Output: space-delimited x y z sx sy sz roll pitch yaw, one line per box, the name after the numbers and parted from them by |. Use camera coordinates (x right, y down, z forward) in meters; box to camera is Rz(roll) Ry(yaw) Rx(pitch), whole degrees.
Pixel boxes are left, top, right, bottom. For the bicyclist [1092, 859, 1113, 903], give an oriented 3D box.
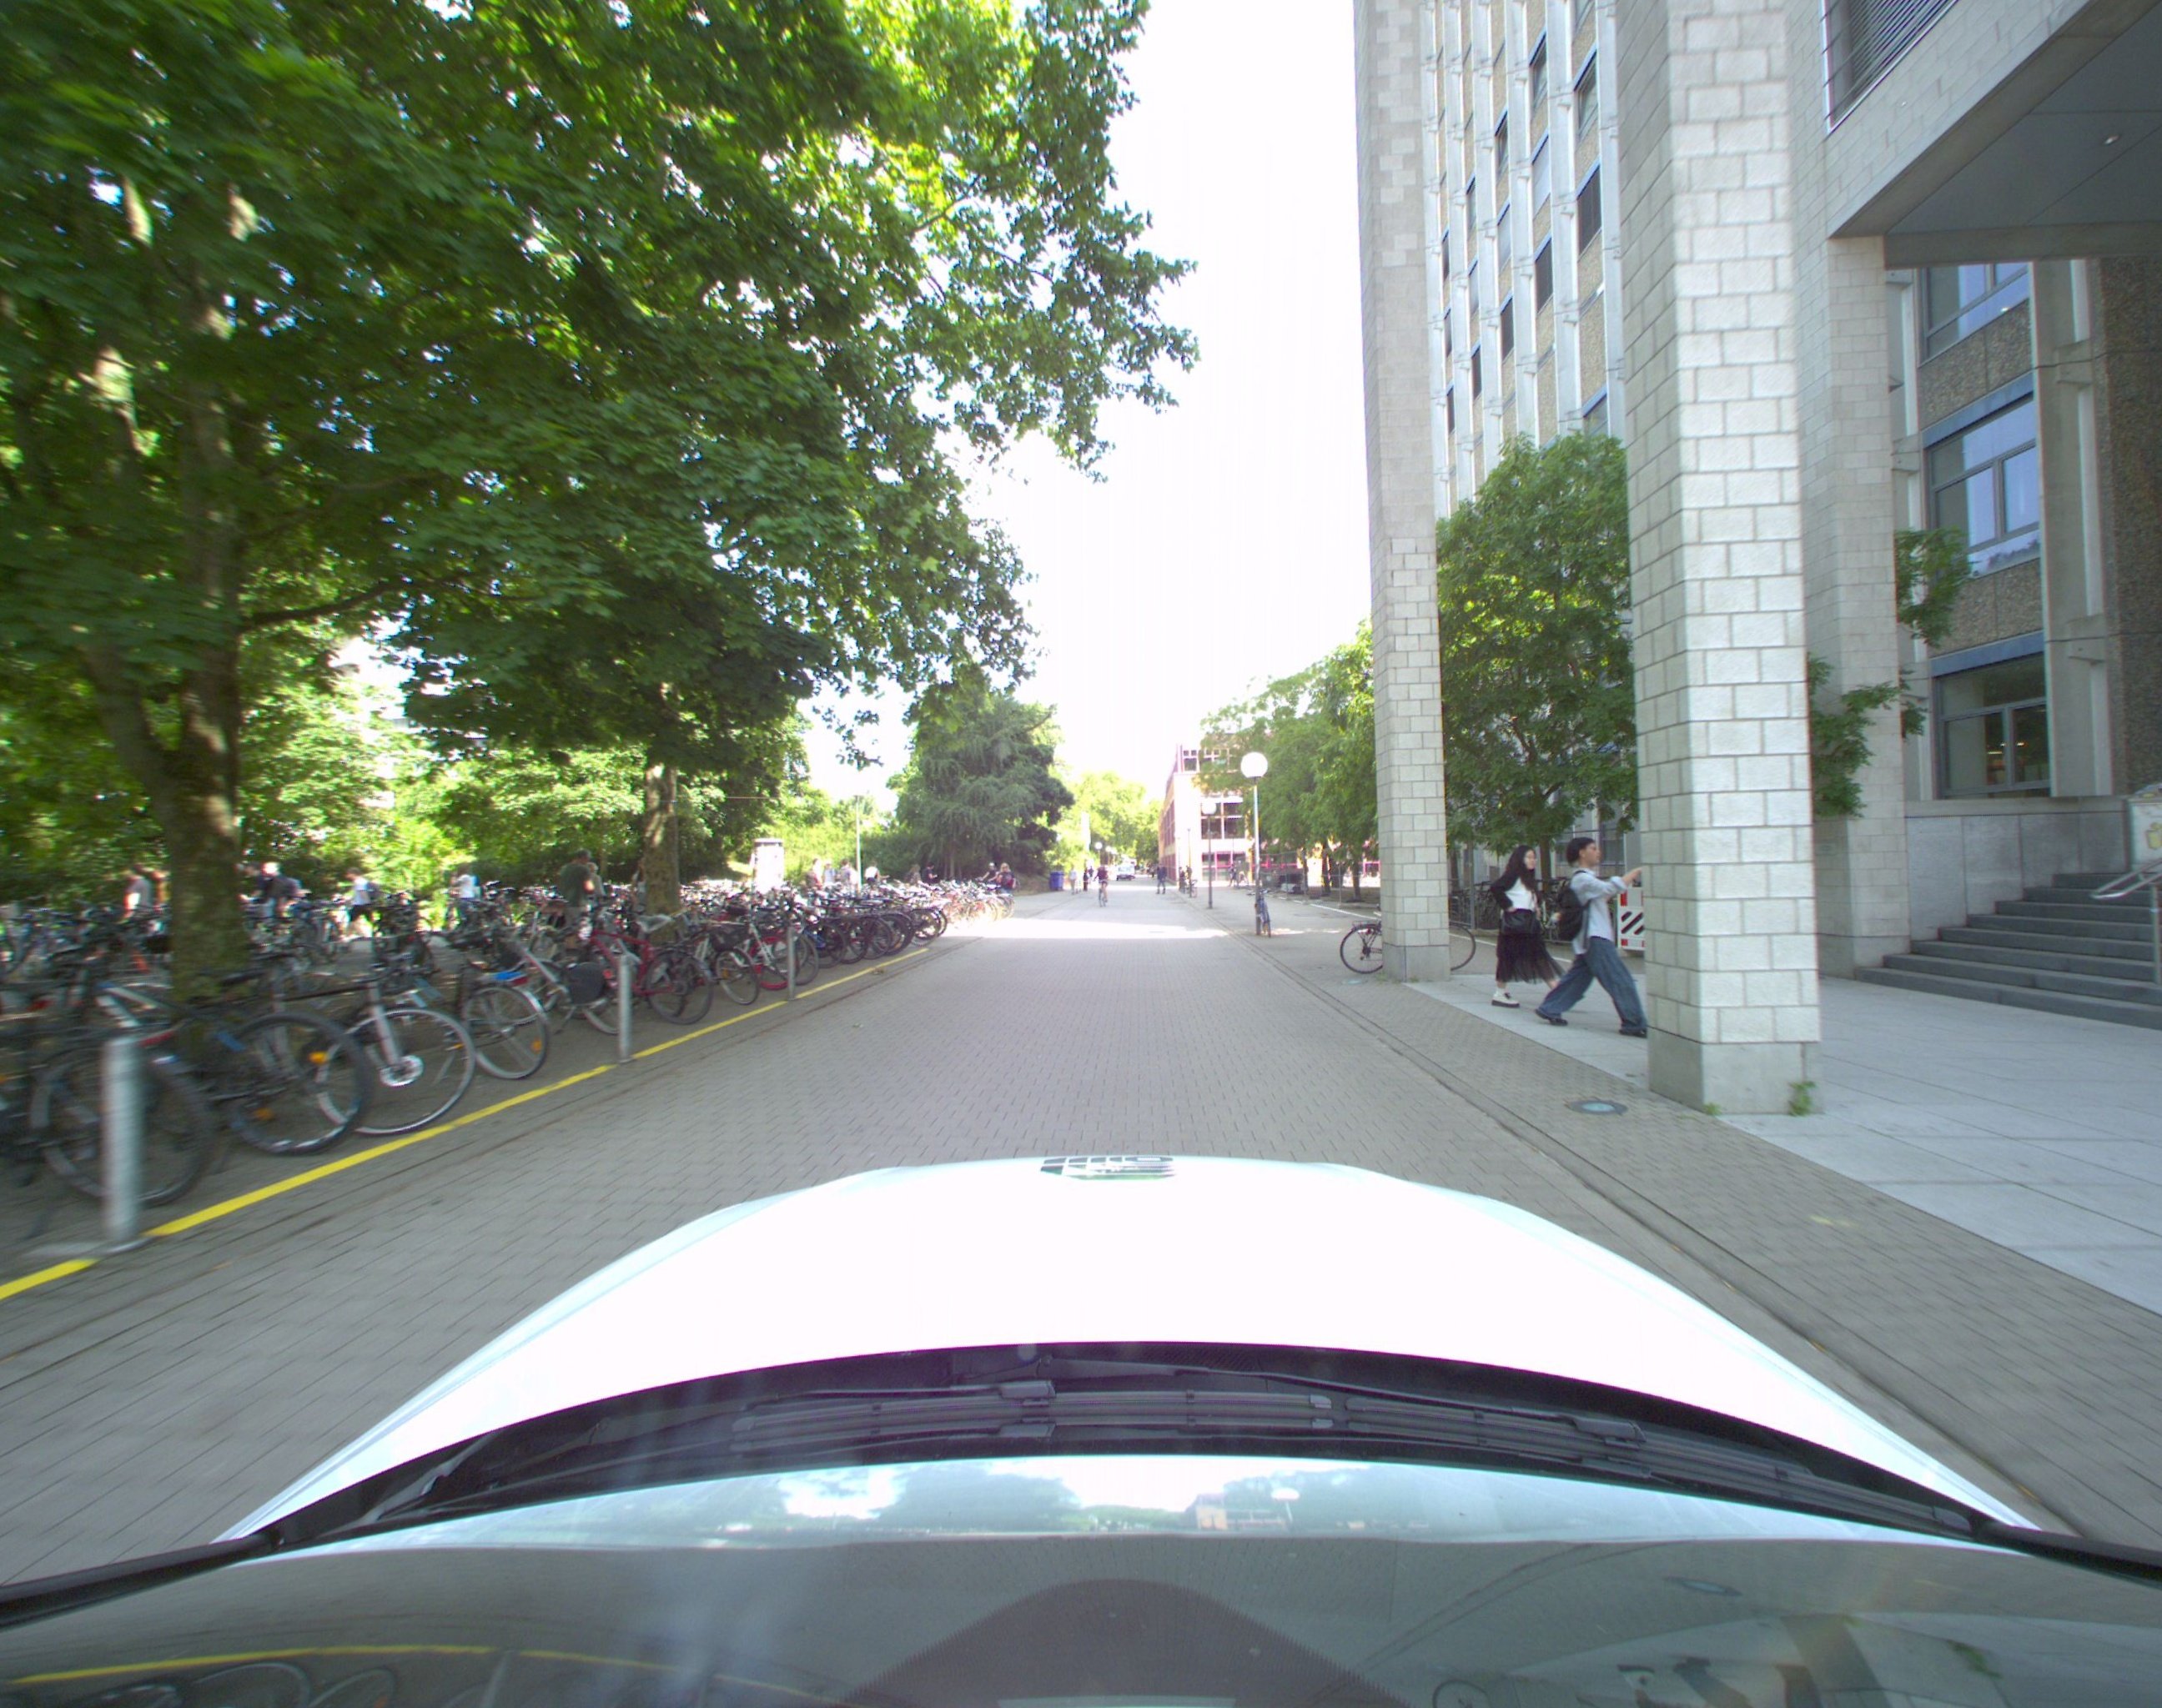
0.877 1.103 33.349 0.769 1.716 0.911 -2 -2 1 | bicyclist

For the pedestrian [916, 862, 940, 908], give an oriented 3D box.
-5.870 1.174 31.261 0.681 1.724 0.904 0 -1 2 | pedestrian

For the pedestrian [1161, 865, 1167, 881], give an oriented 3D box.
8.855 2.062 86.607 0.583 1.673 0.700 -2 -2 5 | pedestrian

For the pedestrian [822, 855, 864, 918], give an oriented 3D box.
-7.164 0.977 24.495 0.677 1.835 0.947 -2 -1 38 | pedestrian

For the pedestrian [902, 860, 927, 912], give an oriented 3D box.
-5.630 1.085 27.605 0.681 1.724 0.731 0 -1 2 | pedestrian

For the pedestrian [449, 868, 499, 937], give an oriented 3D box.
-15.184 1.192 20.400 0.910 1.680 0.762 0 -1 -30 | pedestrian

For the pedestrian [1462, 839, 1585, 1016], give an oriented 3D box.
4.339 0.676 7.991 0.811 1.617 0.732 -1 -1 -37 | pedestrian

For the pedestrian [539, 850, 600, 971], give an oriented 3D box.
-7.938 0.845 12.668 0.772 1.807 0.703 0 -1 -29 | pedestrian

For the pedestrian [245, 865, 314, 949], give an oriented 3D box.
-17.544 1.137 17.847 0.910 1.774 0.762 0 -1 -30 | pedestrian

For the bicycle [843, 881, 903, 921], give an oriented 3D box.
-5.879 1.313 23.006 1.679 1.083 0.477 -1 -1 23 | bicycle

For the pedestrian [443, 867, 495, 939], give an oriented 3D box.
-14.776 1.151 19.675 0.910 1.680 0.762 0 -1 -30 | pedestrian

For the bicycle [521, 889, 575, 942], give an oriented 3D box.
-11.711 1.327 17.870 1.677 1.083 0.477 -1 -2 39 | bicycle

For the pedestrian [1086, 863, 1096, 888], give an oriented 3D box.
0.768 1.628 62.129 0.679 1.844 0.784 -1 -2 4 | pedestrian

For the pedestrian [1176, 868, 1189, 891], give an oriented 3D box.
7.307 1.815 58.403 0.846 1.651 0.590 -1 -2 11 | pedestrian

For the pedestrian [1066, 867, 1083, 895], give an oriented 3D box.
-0.445 1.761 54.022 0.786 1.845 1.110 0 -1 -20 | pedestrian

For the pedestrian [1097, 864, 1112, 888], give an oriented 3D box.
1.855 1.726 63.592 0.717 1.881 1.089 -2 -2 35 | pedestrian

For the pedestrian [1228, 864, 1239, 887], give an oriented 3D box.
11.332 1.575 60.440 0.692 1.673 0.590 -3 -2 11 | pedestrian

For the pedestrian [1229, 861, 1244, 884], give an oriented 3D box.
11.688 1.403 61.170 0.894 1.728 0.688 -2 -4 19 | pedestrian

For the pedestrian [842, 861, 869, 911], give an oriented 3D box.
-8.013 1.130 28.912 0.689 1.724 0.724 -1 -1 -33 | pedestrian

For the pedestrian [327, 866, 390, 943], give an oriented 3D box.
-16.333 1.111 18.430 0.910 1.680 0.762 0 -1 -30 | pedestrian

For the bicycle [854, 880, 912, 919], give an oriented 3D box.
-5.722 1.303 23.512 1.679 1.083 0.477 -1 -1 23 | bicycle

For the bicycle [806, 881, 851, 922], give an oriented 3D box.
-7.048 1.310 22.658 0.477 1.083 1.678 1 -2 -45 | bicycle

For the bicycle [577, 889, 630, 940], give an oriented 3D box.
-10.876 1.355 18.541 1.677 1.083 0.477 -1 -2 39 | bicycle

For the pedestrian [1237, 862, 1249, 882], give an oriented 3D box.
12.749 1.412 64.128 0.777 1.621 0.685 0 -2 1 | pedestrian

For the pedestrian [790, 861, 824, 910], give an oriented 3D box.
-10.100 1.150 30.031 0.762 1.804 0.987 -1 -1 12 | pedestrian

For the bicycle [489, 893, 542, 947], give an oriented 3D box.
-12.159 1.389 17.500 1.677 1.083 0.477 -1 -2 39 | bicycle

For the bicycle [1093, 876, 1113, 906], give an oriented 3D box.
0.884 1.502 33.197 0.768 1.150 2.108 -2 -2 1 | bicycle

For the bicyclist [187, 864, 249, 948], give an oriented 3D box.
-16.737 0.992 15.811 0.725 1.568 0.589 0 -2 -37 | bicyclist

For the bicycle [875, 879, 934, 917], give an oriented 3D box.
-5.314 1.326 24.519 1.681 1.110 0.476 -1 -1 16 | bicycle

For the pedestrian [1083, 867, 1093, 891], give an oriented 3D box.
0.461 1.682 55.602 0.568 1.611 0.915 0 -2 -8 | pedestrian

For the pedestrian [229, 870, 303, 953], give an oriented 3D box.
-17.087 1.179 17.100 0.910 1.680 0.762 0 -1 -30 | pedestrian

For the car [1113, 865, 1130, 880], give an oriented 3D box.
4.805 2.153 96.091 1.782 1.762 4.486 -1 -1 4 | car

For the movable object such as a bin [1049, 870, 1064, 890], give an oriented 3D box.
-1.716 1.813 57.150 0.704 1.336 1.244 1 -1 14 | movable object such as a bin

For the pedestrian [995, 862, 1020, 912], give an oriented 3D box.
-2.605 1.151 28.811 0.768 1.680 0.903 -1 0 -12 | pedestrian

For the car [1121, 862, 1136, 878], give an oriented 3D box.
6.416 2.118 109.641 1.875 1.974 5.220 -1 -1 4 | car

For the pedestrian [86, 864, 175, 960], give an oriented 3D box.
-18.469 1.098 15.853 0.910 1.774 0.762 0 -1 -30 | pedestrian

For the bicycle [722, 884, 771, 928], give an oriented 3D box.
-8.655 1.326 21.038 1.678 1.083 0.477 -2 -2 42 | bicycle

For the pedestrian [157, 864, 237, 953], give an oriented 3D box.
-18.273 1.101 16.862 0.910 1.774 0.762 0 -1 -30 | pedestrian

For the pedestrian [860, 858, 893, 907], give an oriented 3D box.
-7.383 1.029 29.443 0.941 1.724 0.670 -1 -1 -35 | pedestrian

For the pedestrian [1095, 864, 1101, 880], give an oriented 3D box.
2.034 2.141 97.436 0.679 1.844 0.784 -1 -2 4 | pedestrian

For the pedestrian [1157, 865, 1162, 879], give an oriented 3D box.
9.750 2.208 101.534 0.583 1.673 0.818 -2 -2 5 | pedestrian

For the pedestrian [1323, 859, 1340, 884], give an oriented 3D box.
17.534 1.233 56.956 0.899 1.728 0.684 -1 -3 -1 | pedestrian

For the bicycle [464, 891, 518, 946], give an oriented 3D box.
-12.463 1.329 17.192 1.677 1.083 0.477 -1 -2 39 | bicycle

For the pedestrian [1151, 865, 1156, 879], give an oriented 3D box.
8.881 2.211 99.991 0.583 1.673 0.818 -2 -2 5 | pedestrian

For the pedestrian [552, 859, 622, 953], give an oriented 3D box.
-9.290 0.954 15.343 0.765 1.703 0.907 -1 -1 0 | pedestrian

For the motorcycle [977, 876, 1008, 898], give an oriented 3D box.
-4.558 1.677 41.818 0.477 1.047 2.001 1 0 -44 | motorcycle

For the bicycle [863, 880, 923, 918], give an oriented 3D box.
-5.551 1.319 24.025 1.704 1.083 0.476 -1 -1 18 | bicycle

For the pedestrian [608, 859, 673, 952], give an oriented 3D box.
-8.347 0.954 15.449 0.895 1.703 0.775 -1 -1 36 | pedestrian

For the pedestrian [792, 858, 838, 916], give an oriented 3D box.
-8.135 1.001 24.921 0.710 1.724 1.071 -2 -1 36 | pedestrian

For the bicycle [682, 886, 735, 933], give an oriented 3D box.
-9.240 1.358 20.181 1.677 1.083 0.477 -1 -2 39 | bicycle

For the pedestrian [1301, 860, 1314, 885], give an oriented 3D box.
16.338 1.319 58.797 0.761 1.794 0.590 -3 -2 11 | pedestrian

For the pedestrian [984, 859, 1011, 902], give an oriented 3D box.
-3.637 1.132 35.454 0.606 1.835 1.056 -2 -2 38 | pedestrian

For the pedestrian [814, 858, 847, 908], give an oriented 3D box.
-9.206 1.061 29.924 0.827 1.815 0.885 -1 -1 11 | pedestrian

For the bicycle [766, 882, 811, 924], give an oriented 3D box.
-7.810 1.288 21.701 0.477 1.083 1.678 1 -2 -45 | bicycle

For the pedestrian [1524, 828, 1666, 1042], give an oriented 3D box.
4.366 0.639 6.922 0.887 1.670 0.679 -2 -1 41 | pedestrian

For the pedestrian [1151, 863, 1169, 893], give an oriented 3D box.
4.866 1.470 50.117 0.878 1.858 1.037 0 -1 20 | pedestrian

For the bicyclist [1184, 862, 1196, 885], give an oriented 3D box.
8.184 1.439 61.239 0.657 1.716 0.592 -2 -1 36 | bicyclist
